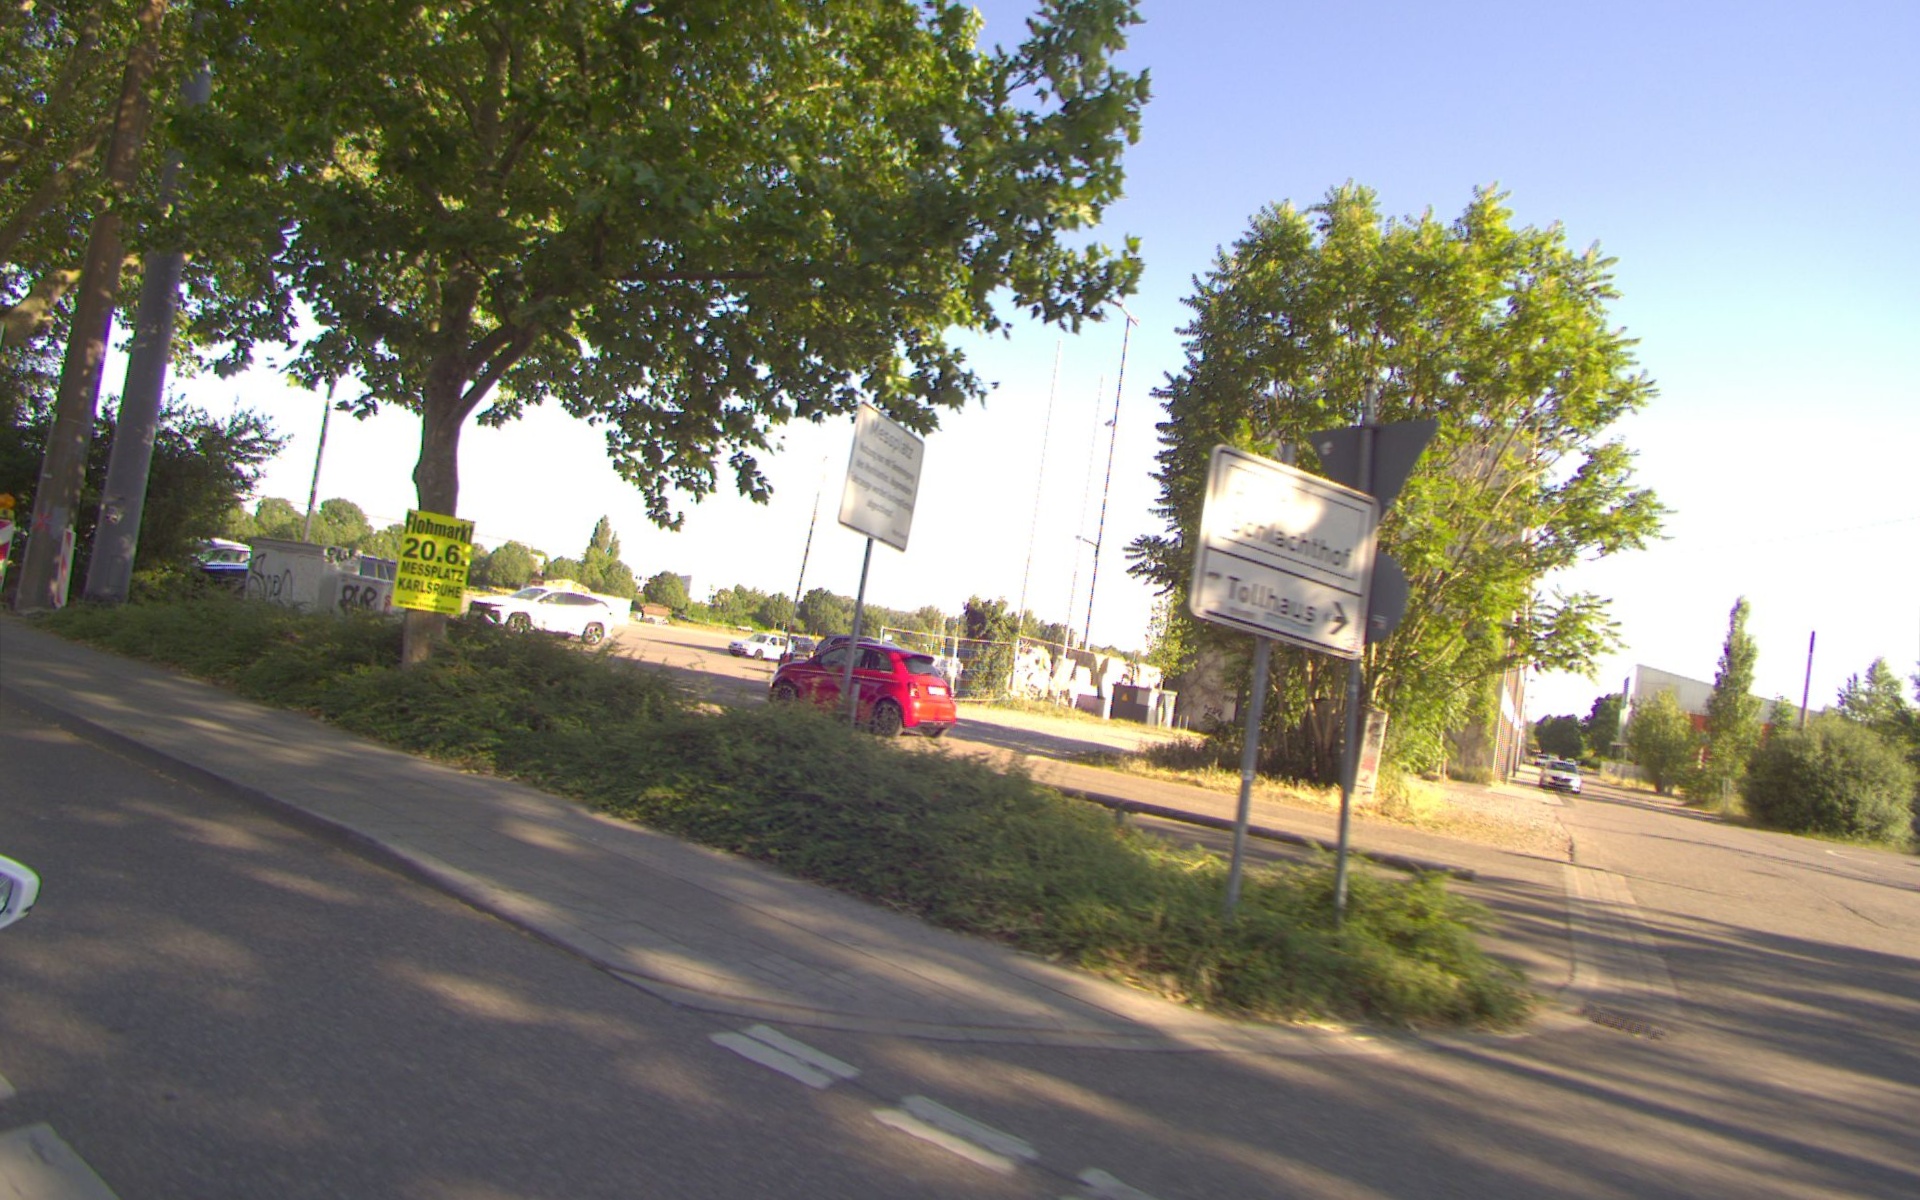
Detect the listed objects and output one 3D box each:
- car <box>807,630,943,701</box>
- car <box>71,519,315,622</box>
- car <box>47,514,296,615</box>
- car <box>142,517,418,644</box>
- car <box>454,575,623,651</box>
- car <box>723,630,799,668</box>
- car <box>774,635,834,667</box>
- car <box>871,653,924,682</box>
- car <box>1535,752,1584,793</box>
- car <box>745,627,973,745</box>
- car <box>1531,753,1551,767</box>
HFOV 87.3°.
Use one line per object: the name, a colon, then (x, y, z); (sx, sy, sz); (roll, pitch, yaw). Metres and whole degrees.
car: (-2.713, 2.059, 31.903); (3.933, 1.627, 1.570); (7, -3, 31)
car: (-16.001, -0.566, 21.162); (1.651, 1.478, 3.604); (7, -4, 32)
car: (-17.633, -0.737, 22.674); (1.857, 1.521, 3.896); (7, -4, 32)
car: (-13.331, -0.313, 19.976); (1.803, 1.783, 3.998); (7, -4, 32)
car: (-13.226, 0.466, 31.849); (1.888, 1.676, 4.467); (6, -4, 35)
car: (-10.599, 2.646, 53.826); (1.697, 1.541, 4.002); (7, -4, 28)
car: (-10.485, 3.451, 67.800); (1.751, 1.556, 4.001); (7, -4, 28)
car: (-4.494, 4.907, 72.818); (1.697, 1.541, 4.265); (7, -4, 28)
car: (29.742, 8.525, 50.016); (1.851, 1.629, 4.365); (7, -4, 31)
car: (-1.869, 1.546, 18.336); (3.740, 1.531, 1.619); (7, -3, 31)
car: (80.902, 22.266, 140.134); (1.854, 1.629, 4.359); (6, -4, 36)
